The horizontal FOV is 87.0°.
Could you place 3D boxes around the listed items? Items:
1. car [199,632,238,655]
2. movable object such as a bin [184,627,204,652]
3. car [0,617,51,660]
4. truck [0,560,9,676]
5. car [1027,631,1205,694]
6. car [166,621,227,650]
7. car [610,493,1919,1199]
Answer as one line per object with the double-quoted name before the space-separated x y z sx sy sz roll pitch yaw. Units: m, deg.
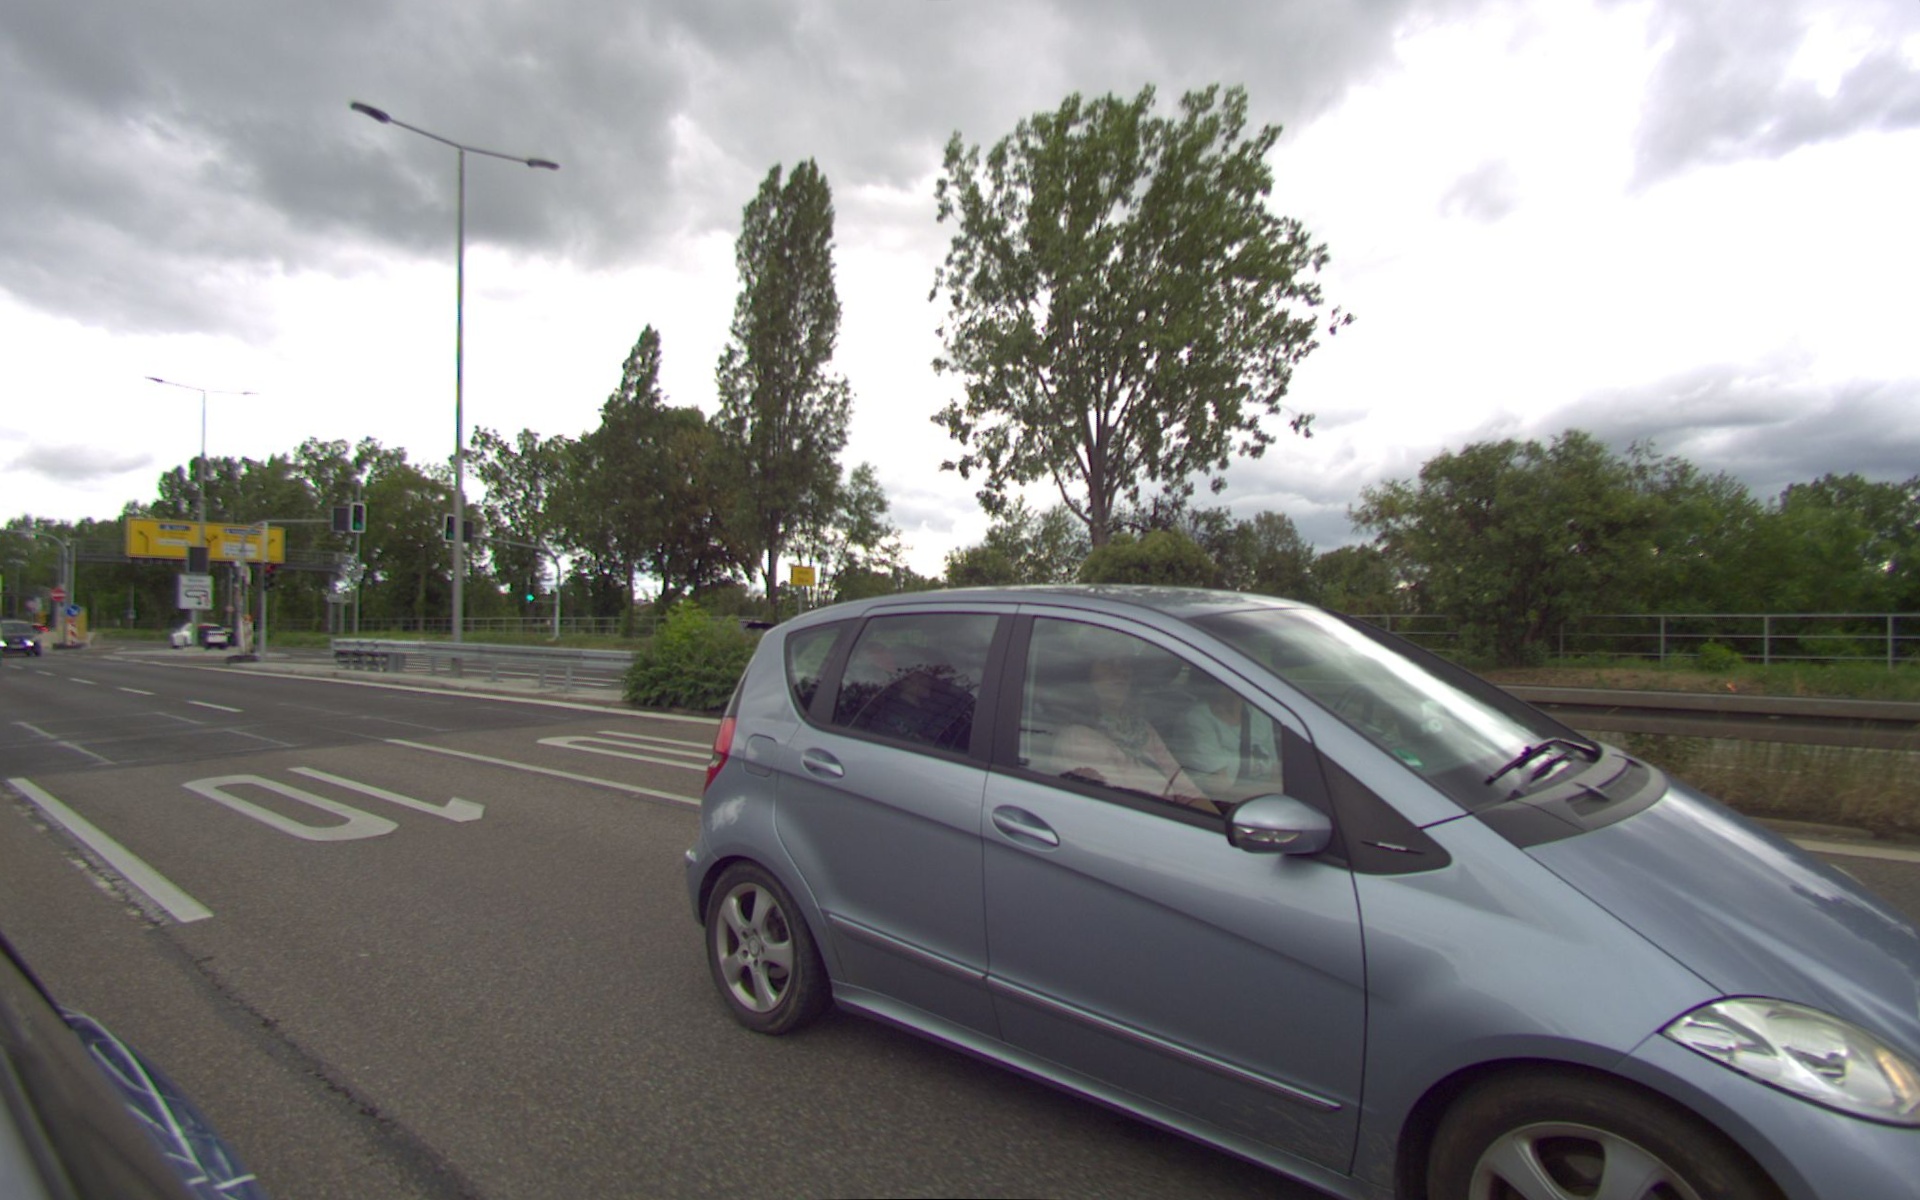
"car" -49.188 2.869 67.130 2.631 1.487 1.489 -2 -4 41
"movable object such as a bin" -31.997 1.642 42.276 0.622 1.032 0.563 -2 -2 44
"car" -40.365 1.623 43.126 4.143 1.738 1.859 -2 -2 40
"truck" -31.605 0.598 30.679 12.499 3.163 2.623 -1 -2 40
"car" 3.805 1.485 25.036 4.064 1.429 1.758 -2 -2 41
"car" -43.800 2.033 57.993 4.998 1.537 1.680 -2 -4 40
"car" 0.824 0.658 3.265 4.143 1.551 1.859 -2 -2 40
